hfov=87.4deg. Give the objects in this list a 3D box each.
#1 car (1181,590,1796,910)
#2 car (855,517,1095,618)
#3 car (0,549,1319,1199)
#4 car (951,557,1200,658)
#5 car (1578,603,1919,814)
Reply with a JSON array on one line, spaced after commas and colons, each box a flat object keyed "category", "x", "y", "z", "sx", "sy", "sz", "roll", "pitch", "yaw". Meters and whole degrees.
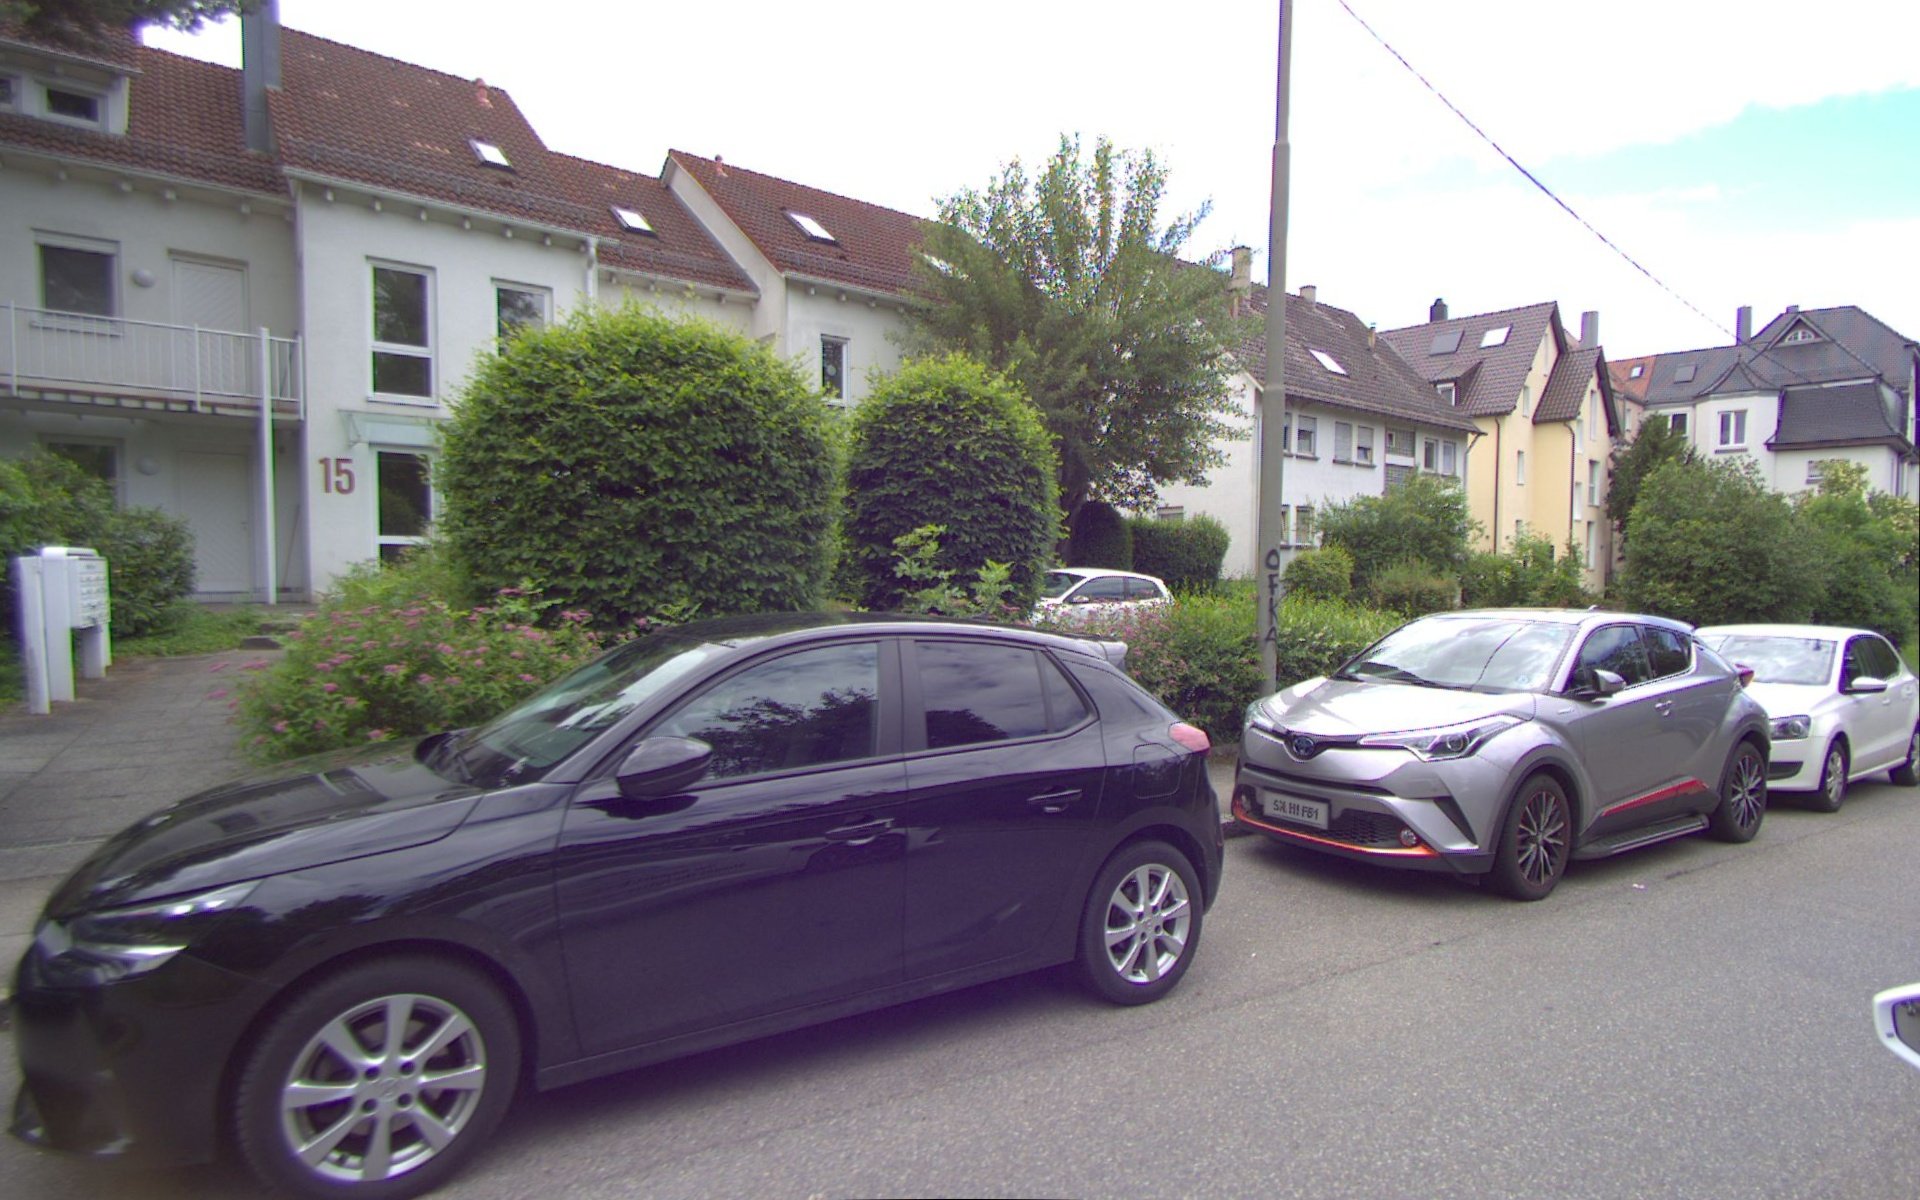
[{"category": "car", "x": 3.565, "y": 0.743, "z": 6.578, "sx": 4.082, "sy": 1.500, "sz": 1.751, "roll": 1, "pitch": 0, "yaw": -32}, {"category": "car", "x": 0.315, "y": -0.563, "z": 18.100, "sx": 3.959, "sy": 1.595, "sz": 1.809, "roll": 1, "pitch": 4, "yaw": -35}, {"category": "car", "x": -0.772, "y": 0.648, "z": 3.733, "sx": 4.284, "sy": 1.461, "sz": 1.640, "roll": 1, "pitch": 1, "yaw": -32}, {"category": "car", "x": 1.929, "y": 0.103, "z": 16.454, "sx": 3.890, "sy": 1.477, "sz": 1.693, "roll": 0, "pitch": 0, "yaw": -33}, {"category": "car", "x": 7.457, "y": 0.840, "z": 9.215, "sx": 3.889, "sy": 1.500, "sz": 1.612, "roll": 1, "pitch": 1, "yaw": -35}]
